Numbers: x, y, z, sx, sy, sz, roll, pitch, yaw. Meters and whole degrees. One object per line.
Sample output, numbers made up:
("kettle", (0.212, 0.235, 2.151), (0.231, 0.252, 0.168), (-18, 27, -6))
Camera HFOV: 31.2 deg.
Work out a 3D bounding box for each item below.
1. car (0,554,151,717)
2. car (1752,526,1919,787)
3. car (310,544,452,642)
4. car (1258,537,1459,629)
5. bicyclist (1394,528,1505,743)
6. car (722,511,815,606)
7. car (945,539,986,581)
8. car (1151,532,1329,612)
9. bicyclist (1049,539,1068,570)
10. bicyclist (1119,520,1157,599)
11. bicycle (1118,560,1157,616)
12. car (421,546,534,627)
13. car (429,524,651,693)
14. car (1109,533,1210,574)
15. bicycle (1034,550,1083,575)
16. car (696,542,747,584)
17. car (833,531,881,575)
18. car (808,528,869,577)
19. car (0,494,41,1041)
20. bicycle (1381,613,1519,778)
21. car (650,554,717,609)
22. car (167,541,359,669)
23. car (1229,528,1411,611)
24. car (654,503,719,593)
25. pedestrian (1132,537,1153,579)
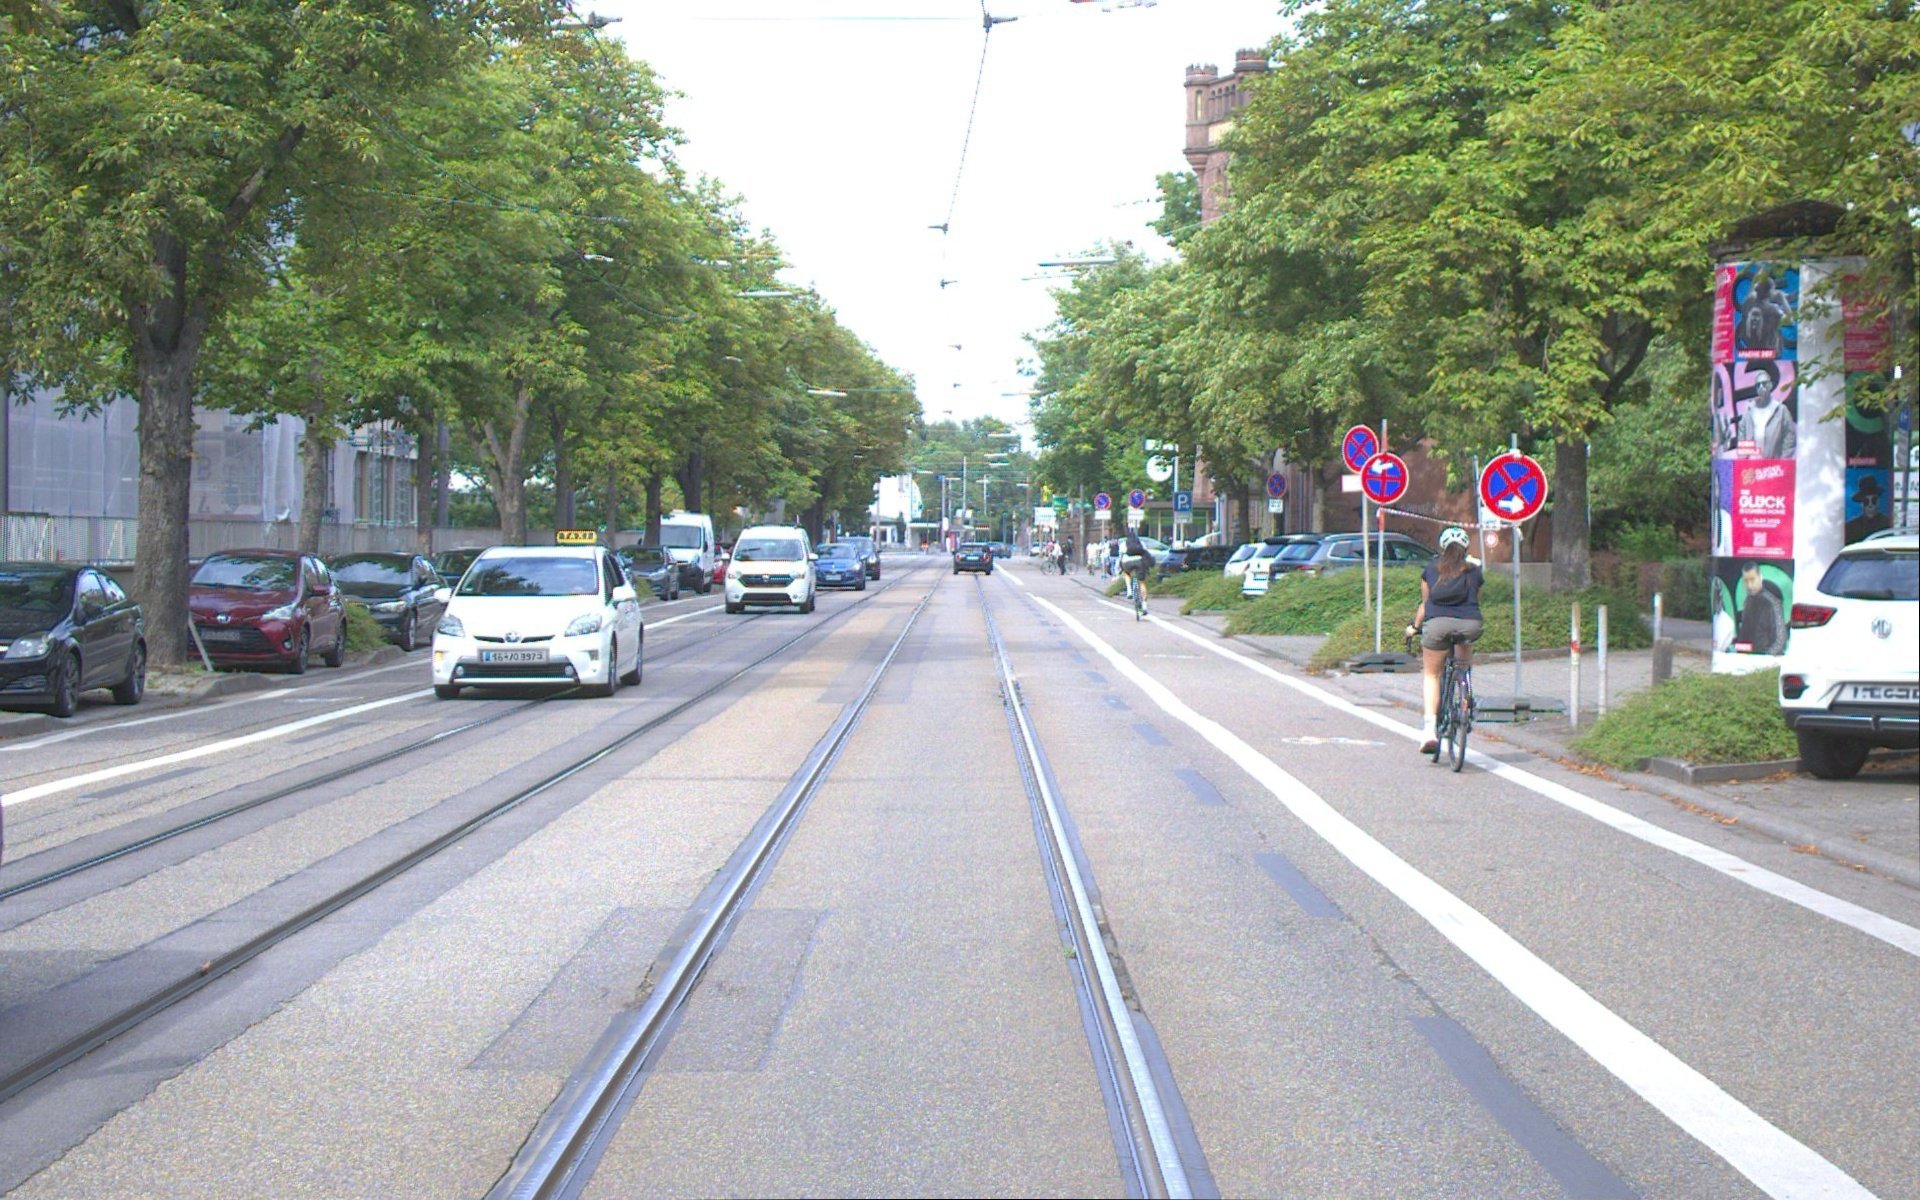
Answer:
("car", (-8.799, 0.286, 32.259), (1.590, 1.398, 3.963), (1, 1, -2))
("car", (6.919, 0.338, 22.553), (1.681, 1.597, 3.637), (1, 1, 45))
("car", (-8.733, -0.130, 52.117), (1.590, 1.398, 3.963), (1, 1, -2))
("car", (7.154, -0.316, 61.595), (1.681, 1.597, 3.637), (1, 1, 45))
("bicyclist", (3.378, 0.233, 23.764), (0.592, 1.454, 0.875), (1, 1, -2))
("car", (-3.929, -0.881, 71.160), (1.732, 1.878, 4.378), (1, 1, -1))
("car", (0.233, -1.851, 157.841), (1.795, 1.817, 4.679), (1, 1, -1))
("car", (5.766, -0.572, 70.539), (1.681, 1.597, 3.637), (1, 1, 45))
("bicyclist", (4.774, -2.214, 166.926), (0.847, 1.499, 0.768), (1, 1, 8))
("bicyclist", (3.407, -0.780, 65.779), (0.659, 1.491, 0.929), (1, 1, 1))
("bicycle", (3.396, -0.239, 65.784), (0.663, 1.040, 1.841), (1, 1, 1))
("car", (-8.729, -0.271, 62.429), (1.590, 1.398, 3.963), (1, 1, -2))
("car", (-4.203, 0.041, 34.986), (1.732, 1.607, 4.334), (0, 1, 0))
("car", (8.378, -1.967, 144.751), (3.986, 1.687, 2.000), (1, 1, -5))
("bicycle", (4.790, -1.823, 166.931), (2.275, 1.185, 0.768), (1, 1, 8))
("car", (-8.244, -1.299, 118.974), (1.590, 1.398, 3.963), (1, 1, -2))
("car", (-3.921, -1.812, 131.525), (1.732, 1.623, 4.378), (-1, 1, -1))
("car", (-3.764, -1.497, 107.138), (1.732, 1.491, 4.378), (0, 1, 0))
("car", (-3.743, 0.518, 8.314), (1.847, 1.607, 4.334), (1, 1, 0))
("bicycle", (3.369, 0.635, 23.769), (0.592, 1.040, 1.978), (1, 1, -2))
("car", (-7.472, -0.515, 93.142), (1.590, 1.398, 3.963), (1, 1, -2))
("car", (-8.645, 0.027, 42.916), (1.635, 1.491, 3.963), (1, 1, -1))
("car", (7.177, -0.606, 68.391), (1.681, 1.597, 3.637), (1, 1, 45))
("car", (-8.454, -1.618, 106.486), (1.720, 2.695, 5.471), (1, 1, -2))
("pedestrian", (7.674, -1.760, 144.423), (0.748, 1.783, 0.730), (1, 0, 15))
